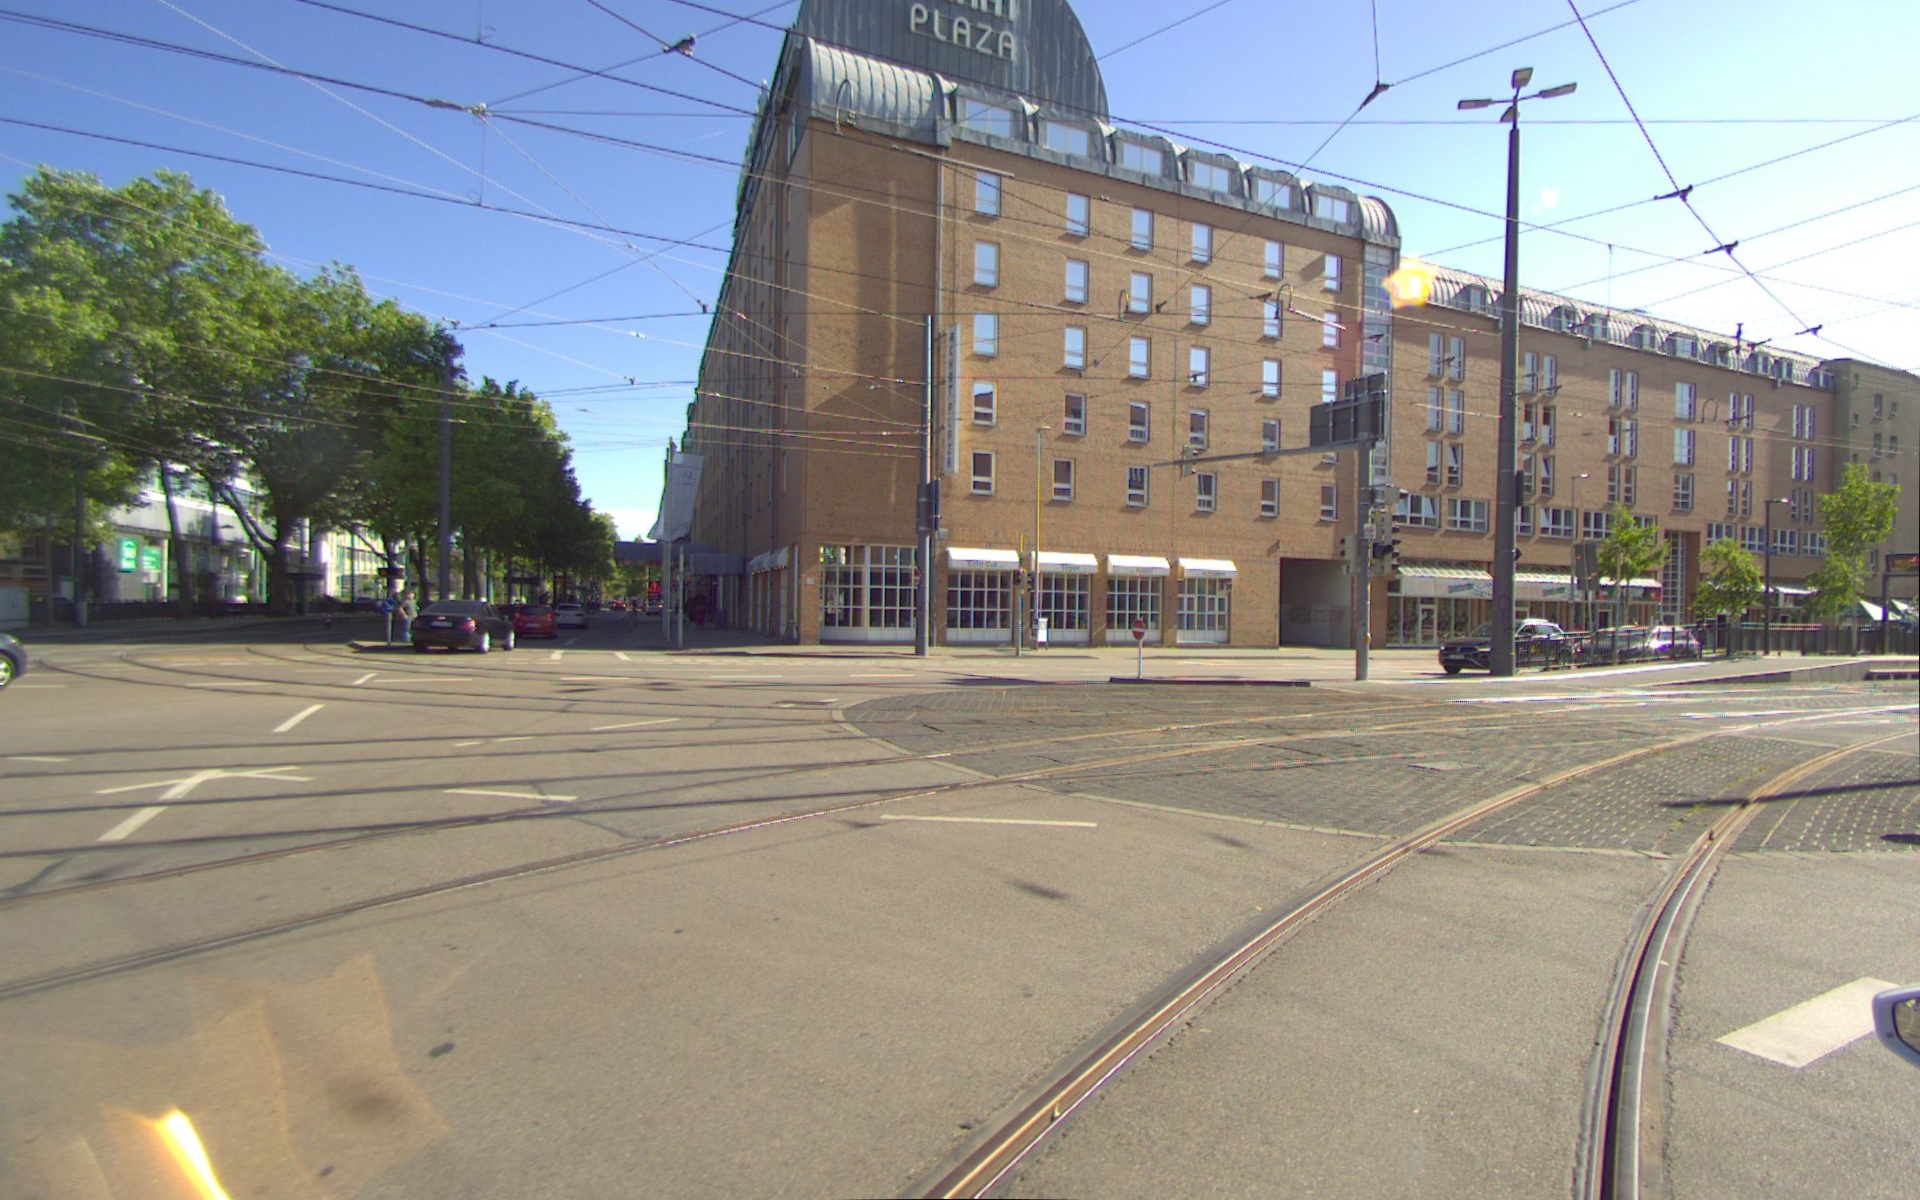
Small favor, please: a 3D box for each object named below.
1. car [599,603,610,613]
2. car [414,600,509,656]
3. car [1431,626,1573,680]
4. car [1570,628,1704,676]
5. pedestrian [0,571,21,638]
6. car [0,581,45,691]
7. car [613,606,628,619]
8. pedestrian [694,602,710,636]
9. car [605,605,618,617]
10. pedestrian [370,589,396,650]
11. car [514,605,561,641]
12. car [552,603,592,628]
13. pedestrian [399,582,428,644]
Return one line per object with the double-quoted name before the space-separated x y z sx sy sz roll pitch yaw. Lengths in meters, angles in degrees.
"car" -68.248 1.500 192.625 1.970 1.884 3.981 1 -1 -20
"car" -14.280 0.758 29.018 1.704 1.468 4.504 1 0 -17
"car" 15.356 1.489 28.446 3.869 1.416 1.604 1 -4 -27
"car" 21.152 1.602 31.350 4.172 1.416 1.604 1 -4 -27
"pedestrian" -28.288 0.134 29.453 0.894 1.958 0.698 1 0 -27
"car" -14.972 0.492 13.478 1.697 1.585 3.680 1 0 10
"car" -51.640 1.919 152.741 1.970 1.884 3.981 1 -1 -20
"pedestrian" -15.292 1.112 59.470 0.821 1.958 0.557 1 0 -24
"car" -56.023 1.792 161.417 1.970 1.884 3.981 1 -1 -20
"pedestrian" -18.810 0.632 32.754 0.518 1.958 0.524 1 0 -1
"car" -18.218 0.984 43.416 1.633 1.468 3.569 1 0 -19
"car" -23.302 0.934 60.491 2.035 1.399 4.393 1 -1 -19
"pedestrian" -17.351 0.417 31.911 0.742 1.958 0.521 1 0 -27
